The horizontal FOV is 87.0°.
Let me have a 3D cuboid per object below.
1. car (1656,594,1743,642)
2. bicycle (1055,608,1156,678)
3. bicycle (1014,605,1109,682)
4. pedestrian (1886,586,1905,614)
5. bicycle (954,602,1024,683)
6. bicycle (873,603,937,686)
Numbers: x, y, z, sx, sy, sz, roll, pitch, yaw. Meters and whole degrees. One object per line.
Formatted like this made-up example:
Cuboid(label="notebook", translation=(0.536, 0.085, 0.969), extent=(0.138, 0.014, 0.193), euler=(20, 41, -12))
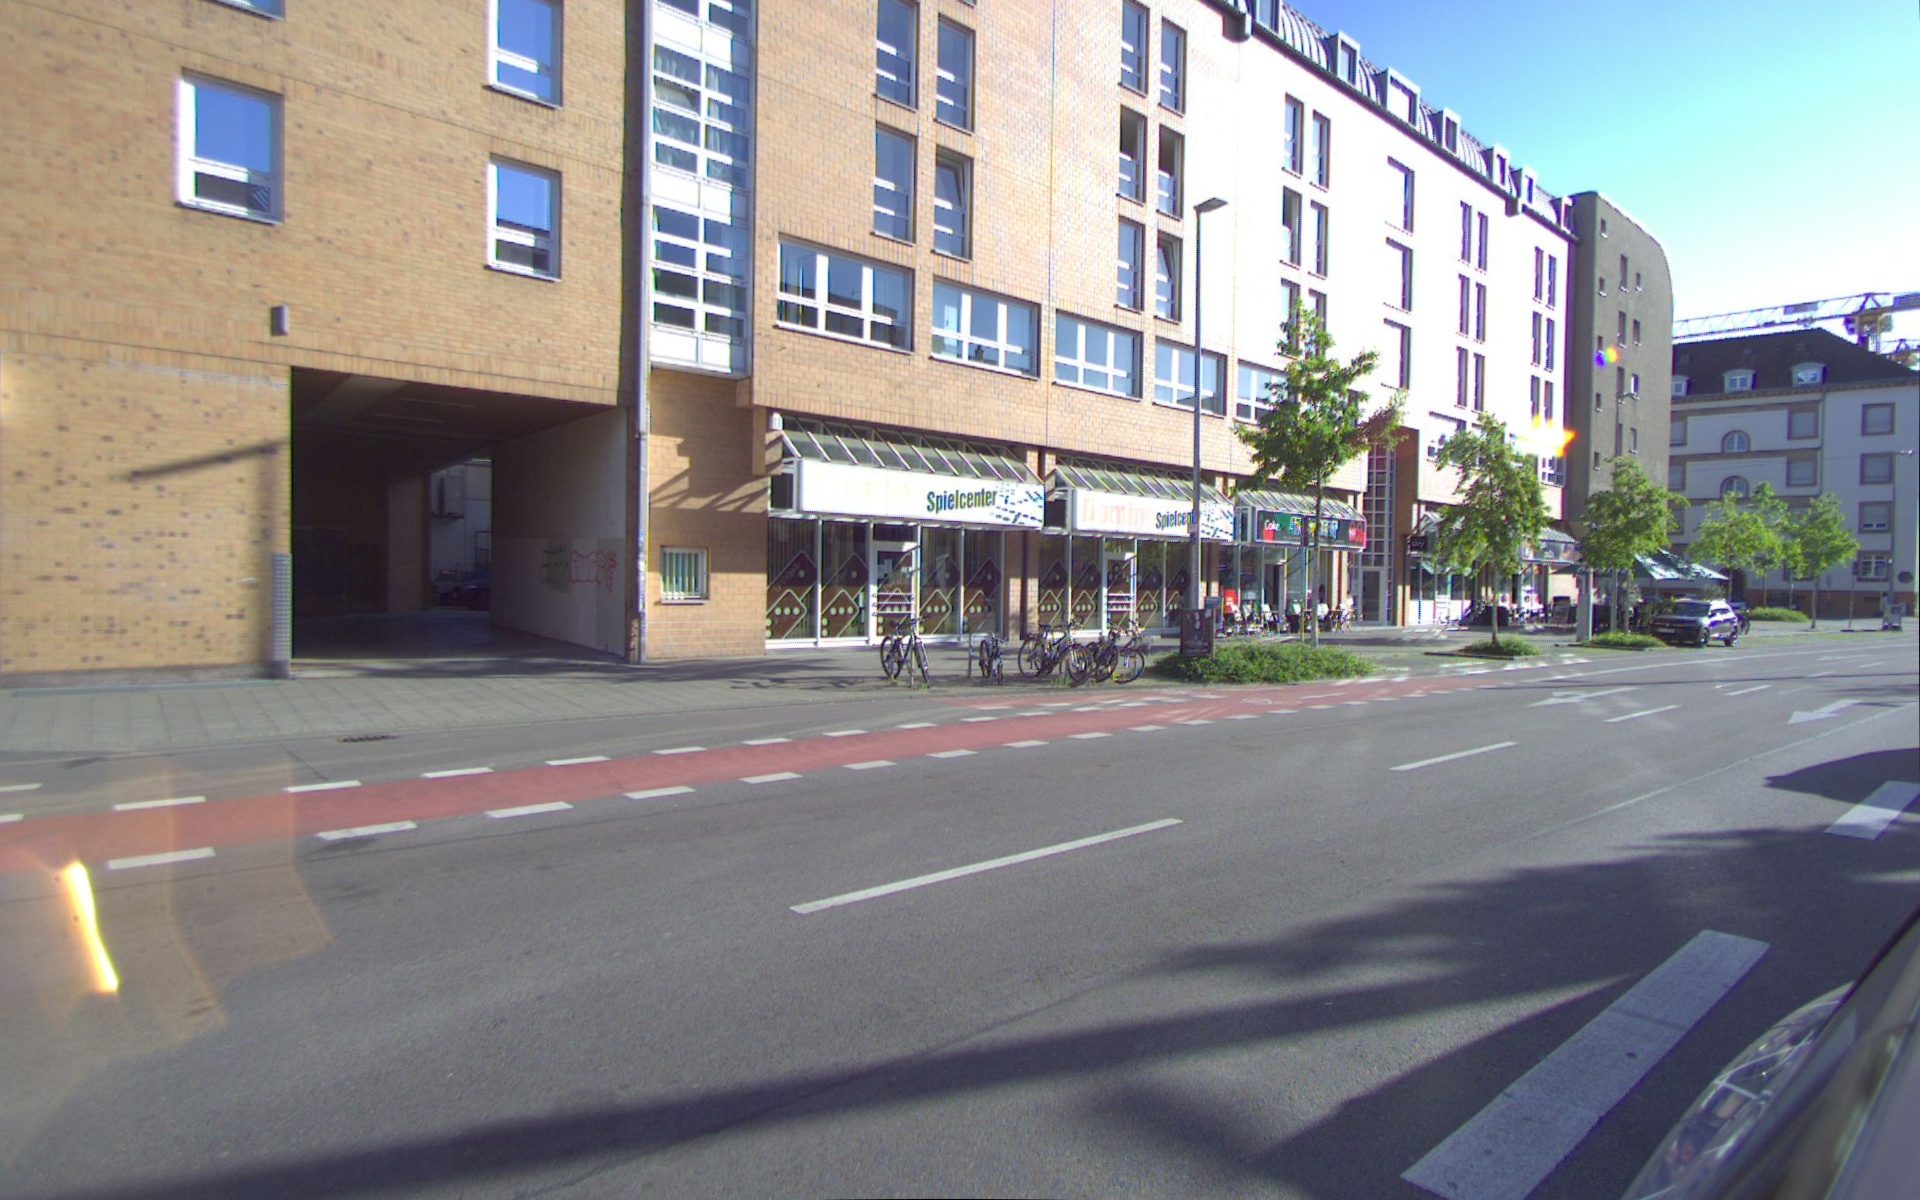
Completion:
Cuboid(label="car", translation=(25.930, 0.588, 35.471), extent=(3.628, 1.549, 1.654), euler=(-1, 0, -40))
Cuboid(label="bicycle", translation=(2.581, 0.739, 18.143), extent=(0.724, 1.084, 1.775), euler=(-1, 3, -37))
Cuboid(label="bicycle", translation=(1.705, 0.711, 17.308), extent=(0.543, 1.155, 1.775), euler=(-1, 3, -37))
Cuboid(label="pedestrian", translation=(59.213, -0.004, 64.061), extent=(0.801, 1.687, 0.878), euler=(2, 1, 42))
Cuboid(label="bicycle", translation=(0.459, 0.671, 16.778), extent=(0.541, 1.162, 1.780), euler=(0, 3, -20))
Cuboid(label="bicycle", translation=(-0.909, 0.684, 16.308), extent=(0.541, 1.162, 1.780), euler=(0, 3, -20))
